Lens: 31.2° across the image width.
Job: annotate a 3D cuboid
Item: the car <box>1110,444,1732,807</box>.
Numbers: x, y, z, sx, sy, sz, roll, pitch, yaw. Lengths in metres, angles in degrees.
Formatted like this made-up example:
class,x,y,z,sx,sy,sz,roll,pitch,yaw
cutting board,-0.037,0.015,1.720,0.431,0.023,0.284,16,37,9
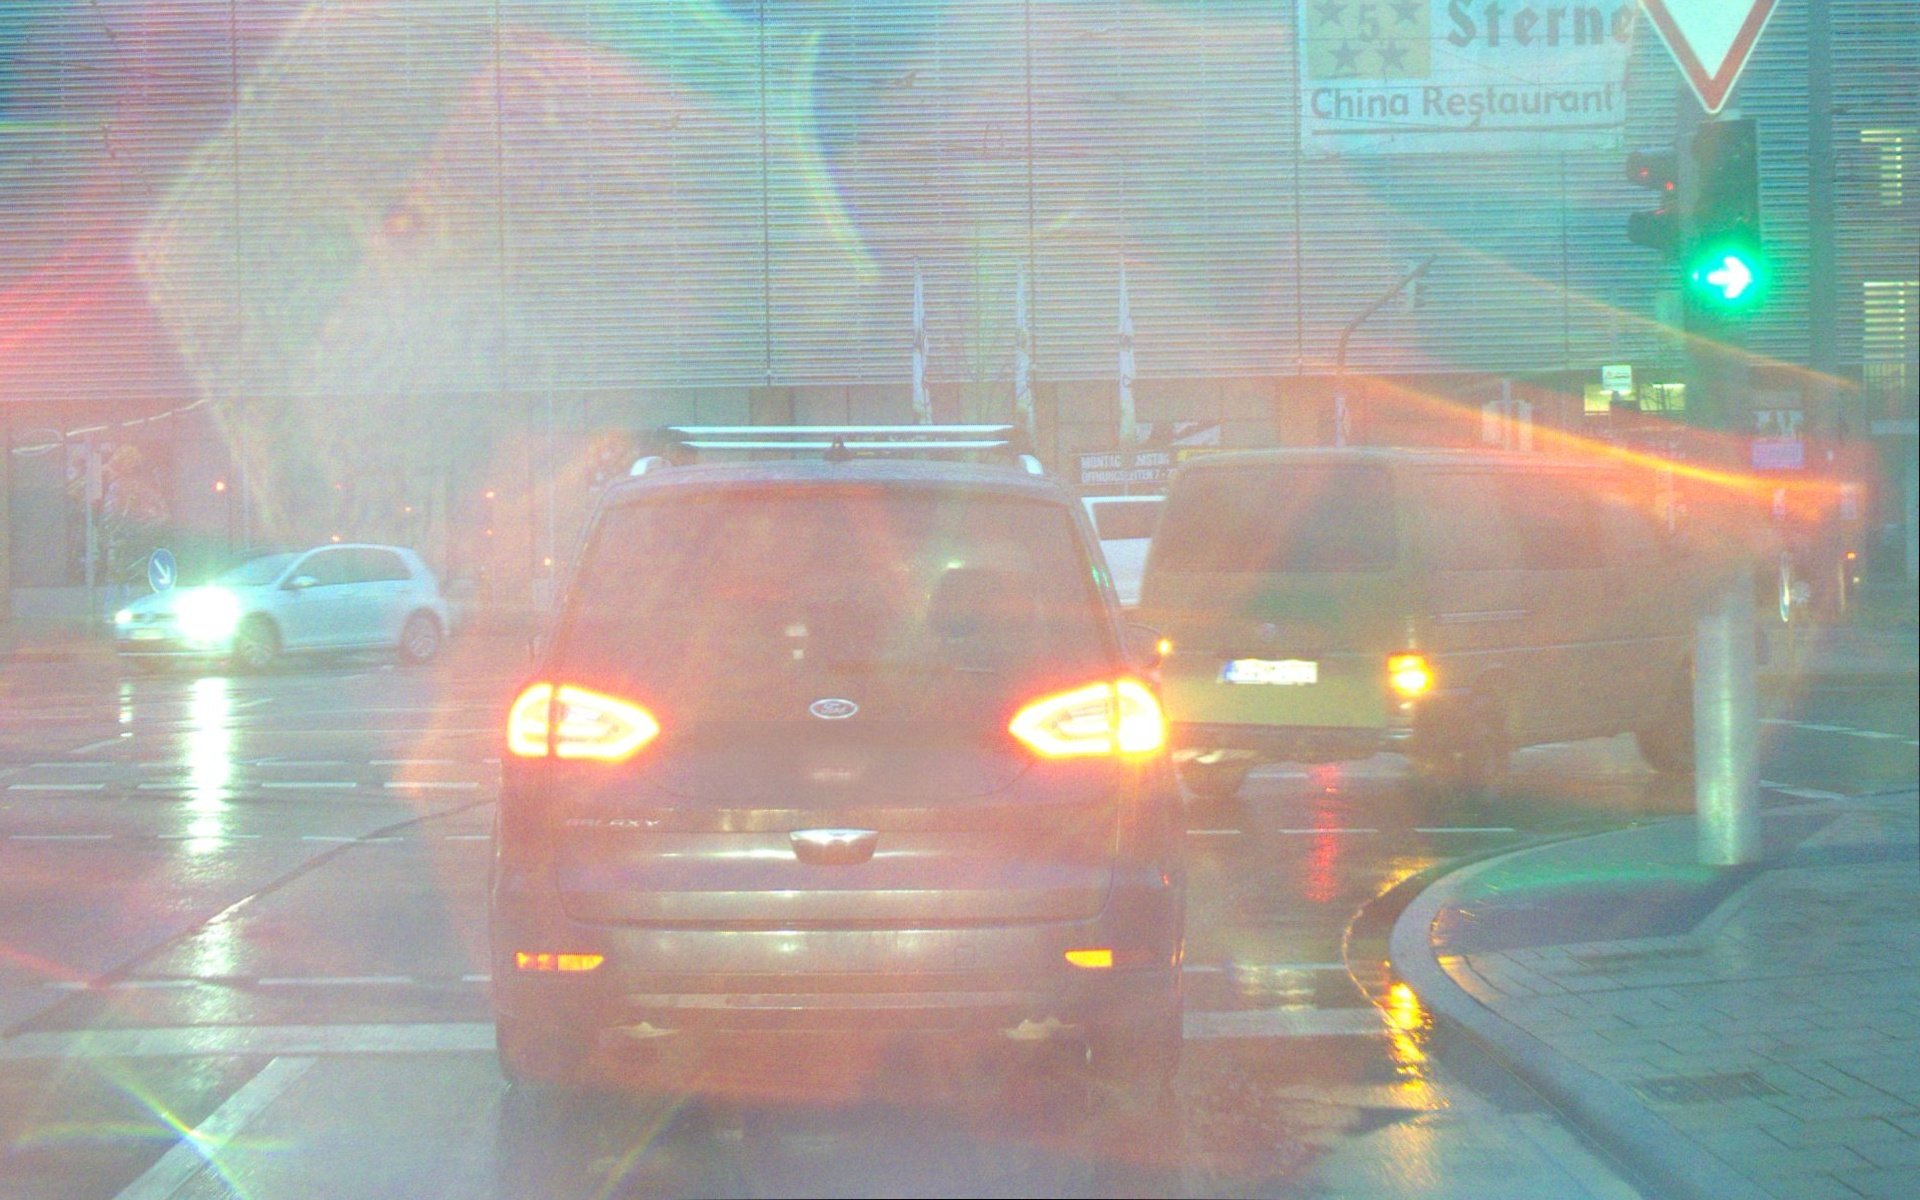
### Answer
class,x,y,z,sx,sy,sz,roll,pitch,yaw
car,2.739,0.079,19.438,1.847,1.800,4.479,0,1,31

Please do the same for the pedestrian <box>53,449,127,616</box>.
class,x,y,z,sx,sy,sz,roll,pitch,yaw
pedestrian,-15.403,-1.188,60.873,0.963,2.915,1.114,1,0,2

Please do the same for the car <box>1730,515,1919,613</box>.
class,x,y,z,sx,sy,sz,roll,pitch,yaw
car,14.246,-0.580,52.781,4.408,1.440,1.630,-1,1,-8

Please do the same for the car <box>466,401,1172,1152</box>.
class,x,y,z,sx,sy,sz,roll,pitch,yaw
car,-0.268,0.392,10.273,1.674,1.773,4.000,1,1,2

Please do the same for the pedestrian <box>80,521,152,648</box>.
class,x,y,z,sx,sy,sz,roll,pitch,yaw
pedestrian,-16.319,-0.304,66.523,1.110,2.431,0.966,1,0,2

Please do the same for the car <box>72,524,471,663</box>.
class,x,y,z,sx,sy,sz,roll,pitch,yaw
car,-7.802,-0.101,39.314,1.864,1.481,4.332,0,1,36

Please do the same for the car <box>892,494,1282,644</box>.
class,x,y,z,sx,sy,sz,roll,pitch,yaw
car,1.897,-0.479,49.990,5.644,2.052,1.953,-2,1,-36
